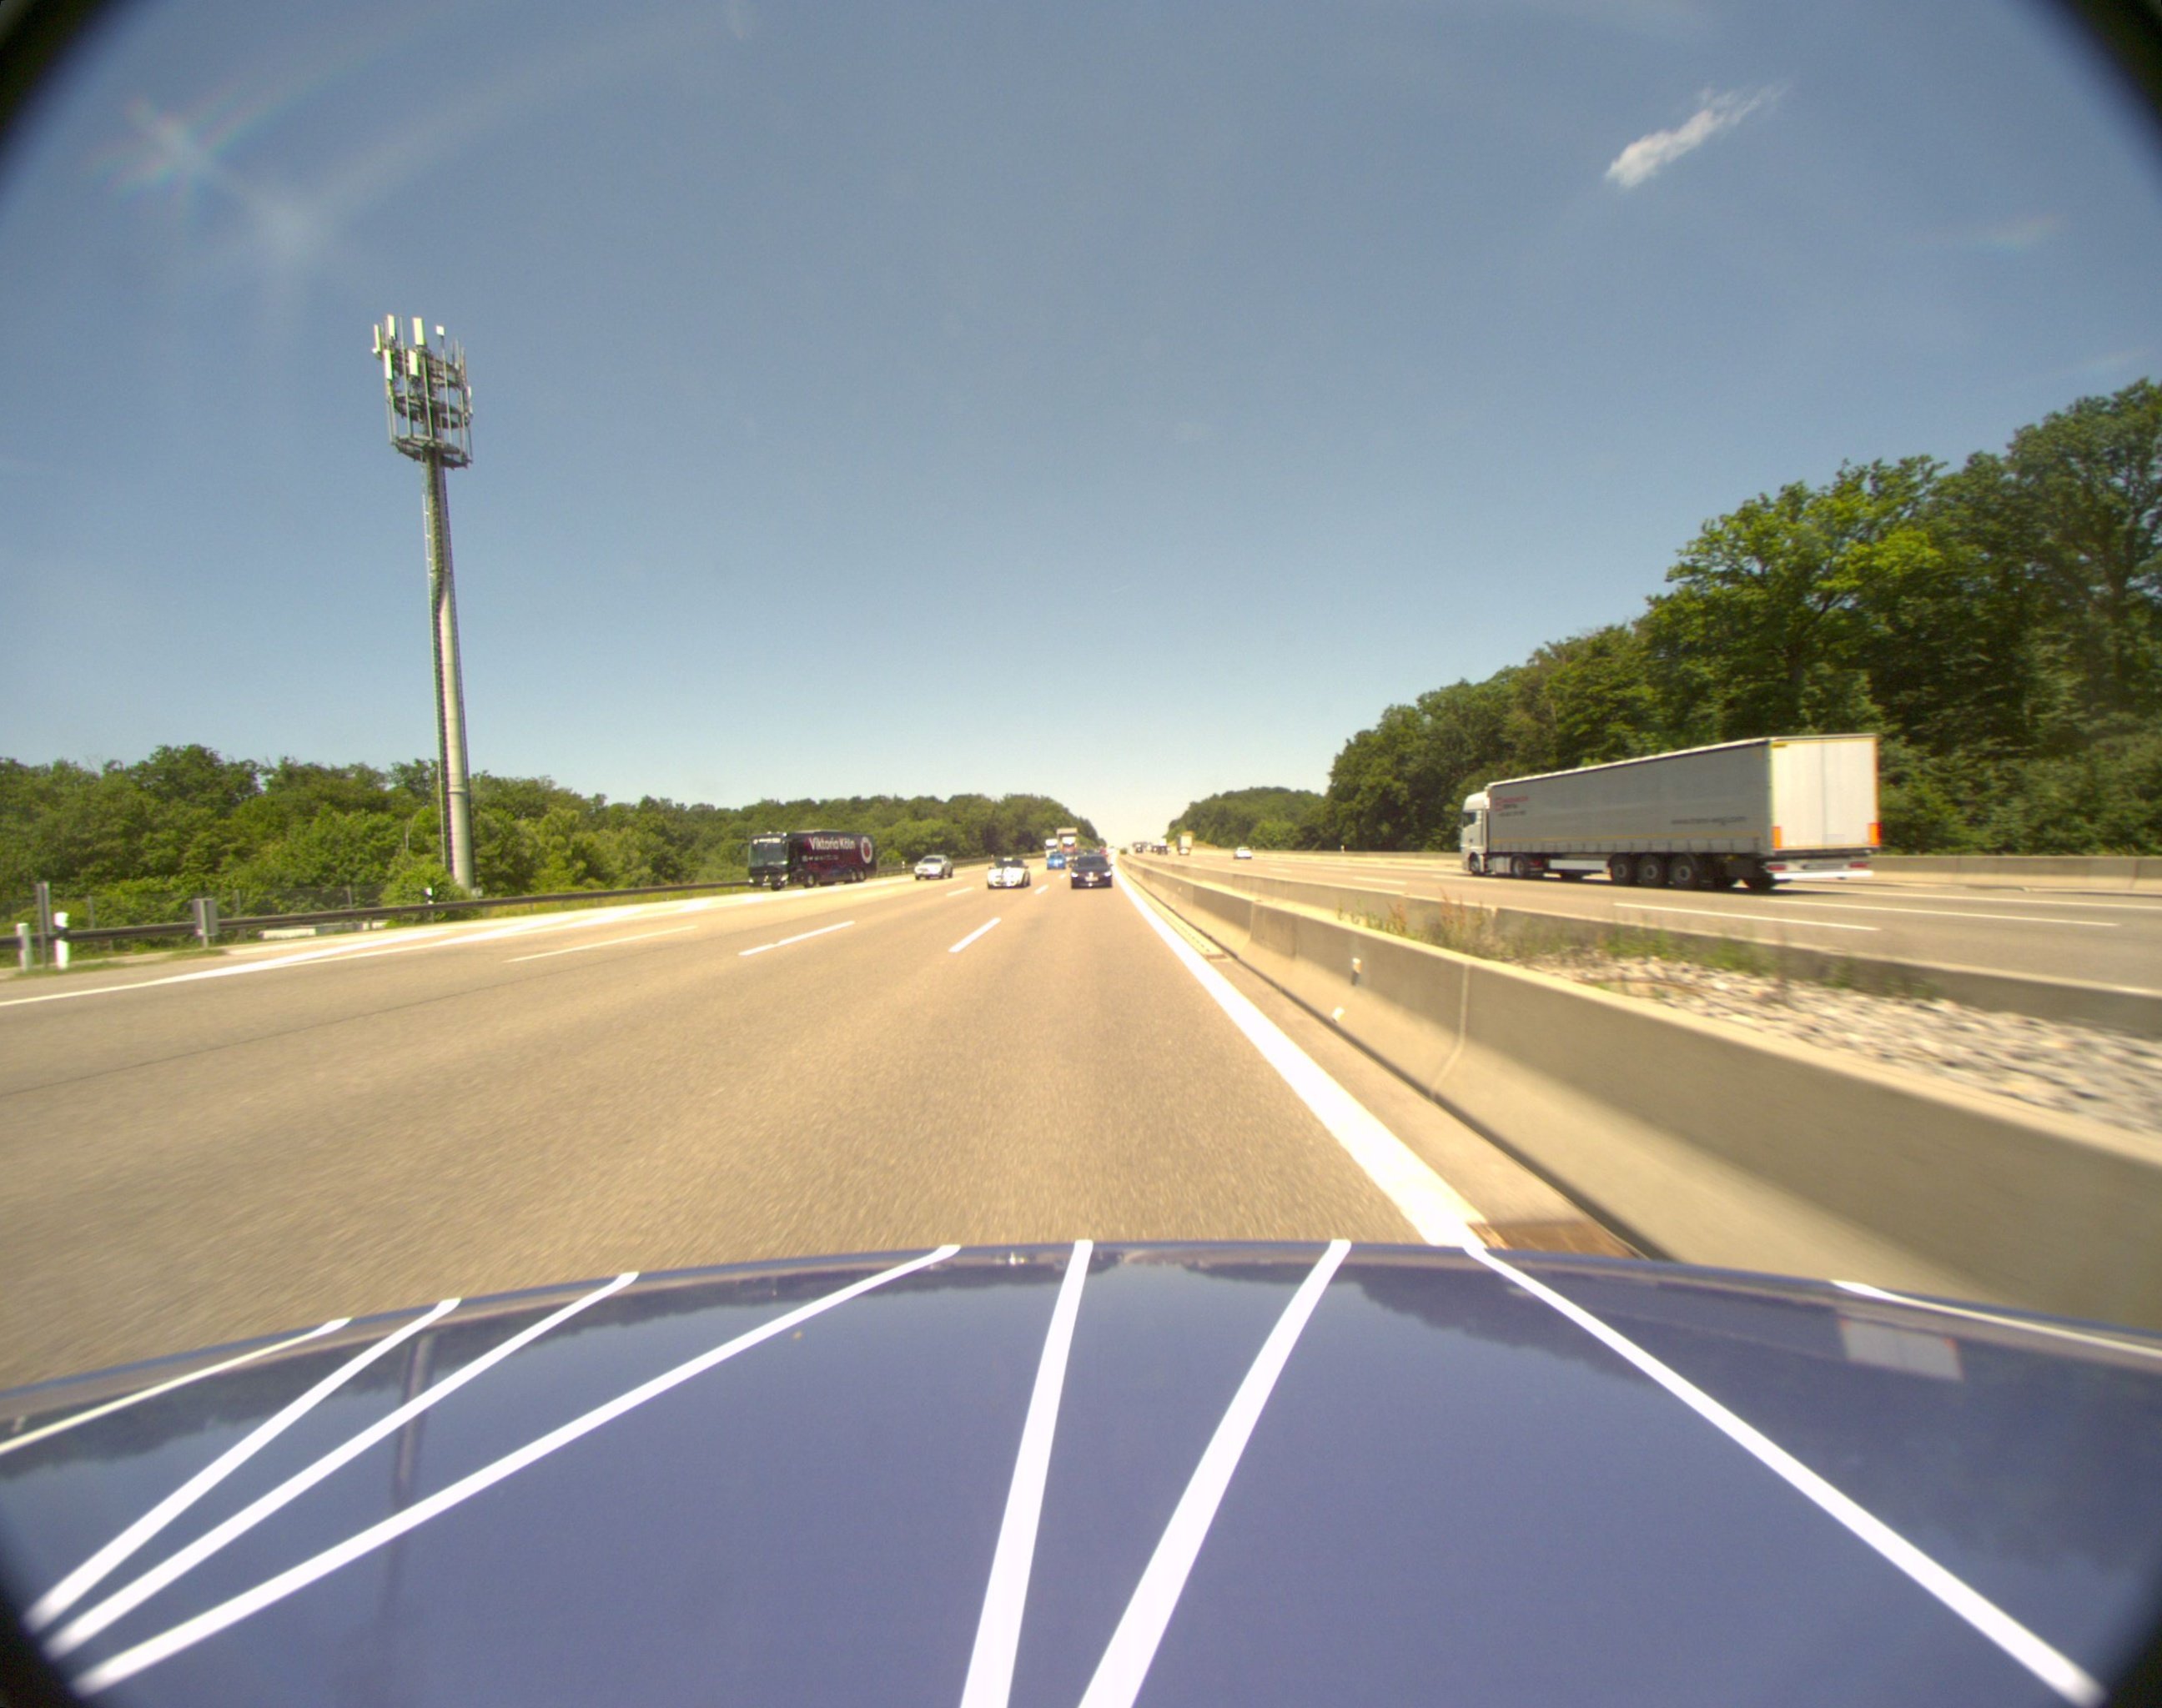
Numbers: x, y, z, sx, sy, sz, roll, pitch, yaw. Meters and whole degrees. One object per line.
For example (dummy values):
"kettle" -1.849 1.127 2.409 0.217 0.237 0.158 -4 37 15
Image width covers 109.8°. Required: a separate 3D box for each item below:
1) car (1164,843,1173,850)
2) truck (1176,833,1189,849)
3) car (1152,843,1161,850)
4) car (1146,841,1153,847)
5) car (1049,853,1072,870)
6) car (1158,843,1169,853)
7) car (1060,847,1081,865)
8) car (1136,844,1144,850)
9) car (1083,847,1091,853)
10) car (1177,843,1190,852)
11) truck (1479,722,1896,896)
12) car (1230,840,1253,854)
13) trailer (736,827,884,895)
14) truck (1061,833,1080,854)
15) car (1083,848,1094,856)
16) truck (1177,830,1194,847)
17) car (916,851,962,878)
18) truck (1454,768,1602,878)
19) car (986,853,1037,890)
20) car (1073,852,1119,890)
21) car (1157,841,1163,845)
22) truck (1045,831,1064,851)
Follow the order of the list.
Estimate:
"car" 22.058 -1.933 192.033 1.877 1.526 4.136 -2 1 2
"truck" 25.897 -3.360 193.238 2.664 4.003 5.510 -2 1 2
"car" 18.200 -1.806 183.236 1.877 1.467 5.111 -2 1 2
"car" 19.719 -2.867 218.898 1.836 1.553 4.776 2 1 2
"car" -1.854 0.651 70.593 1.741 1.403 4.000 -4 1 4
"car" 16.486 -1.226 152.151 1.877 1.929 5.774 -2 1 2
"car" -1.314 0.230 96.467 1.965 2.041 4.785 -5 0 5
"car" 14.181 -1.656 181.696 1.605 1.460 4.505 -2 1 2
"car" 1.785 -1.174 225.226 1.909 1.503 4.161 -5 0 5
"car" 18.726 -1.187 139.252 1.877 1.526 4.813 -2 1 2
"truck" 18.606 -1.159 25.800 2.764 4.153 14.508 -2 1 1
"car" 19.802 -0.894 93.788 1.877 1.472 4.813 -3 1 2
"trailer" -16.910 0.216 49.242 2.863 3.667 13.547 -3 1 8
"truck" -2.111 -2.046 154.796 3.017 3.957 7.543 -4 0 5
"car" 1.655 -0.465 160.181 1.909 1.503 4.161 -5 0 5
"truck" 25.699 -3.771 187.347 2.696 4.002 14.298 -2 1 3
"car" -9.790 0.698 52.760 1.805 1.721 5.240 -3 0 4
"truck" 18.739 -1.206 32.388 2.688 4.153 6.231 -2 1 1
"car" -3.243 0.779 36.026 1.846 1.543 4.000 -3 1 2
"car" 0.708 0.710 33.417 1.777 1.425 4.144 -4 0 3
"car" 26.412 -3.578 253.579 1.836 1.294 4.729 -2 1 2
"truck" -5.841 -2.902 171.326 2.728 4.136 10.972 -5 0 4
